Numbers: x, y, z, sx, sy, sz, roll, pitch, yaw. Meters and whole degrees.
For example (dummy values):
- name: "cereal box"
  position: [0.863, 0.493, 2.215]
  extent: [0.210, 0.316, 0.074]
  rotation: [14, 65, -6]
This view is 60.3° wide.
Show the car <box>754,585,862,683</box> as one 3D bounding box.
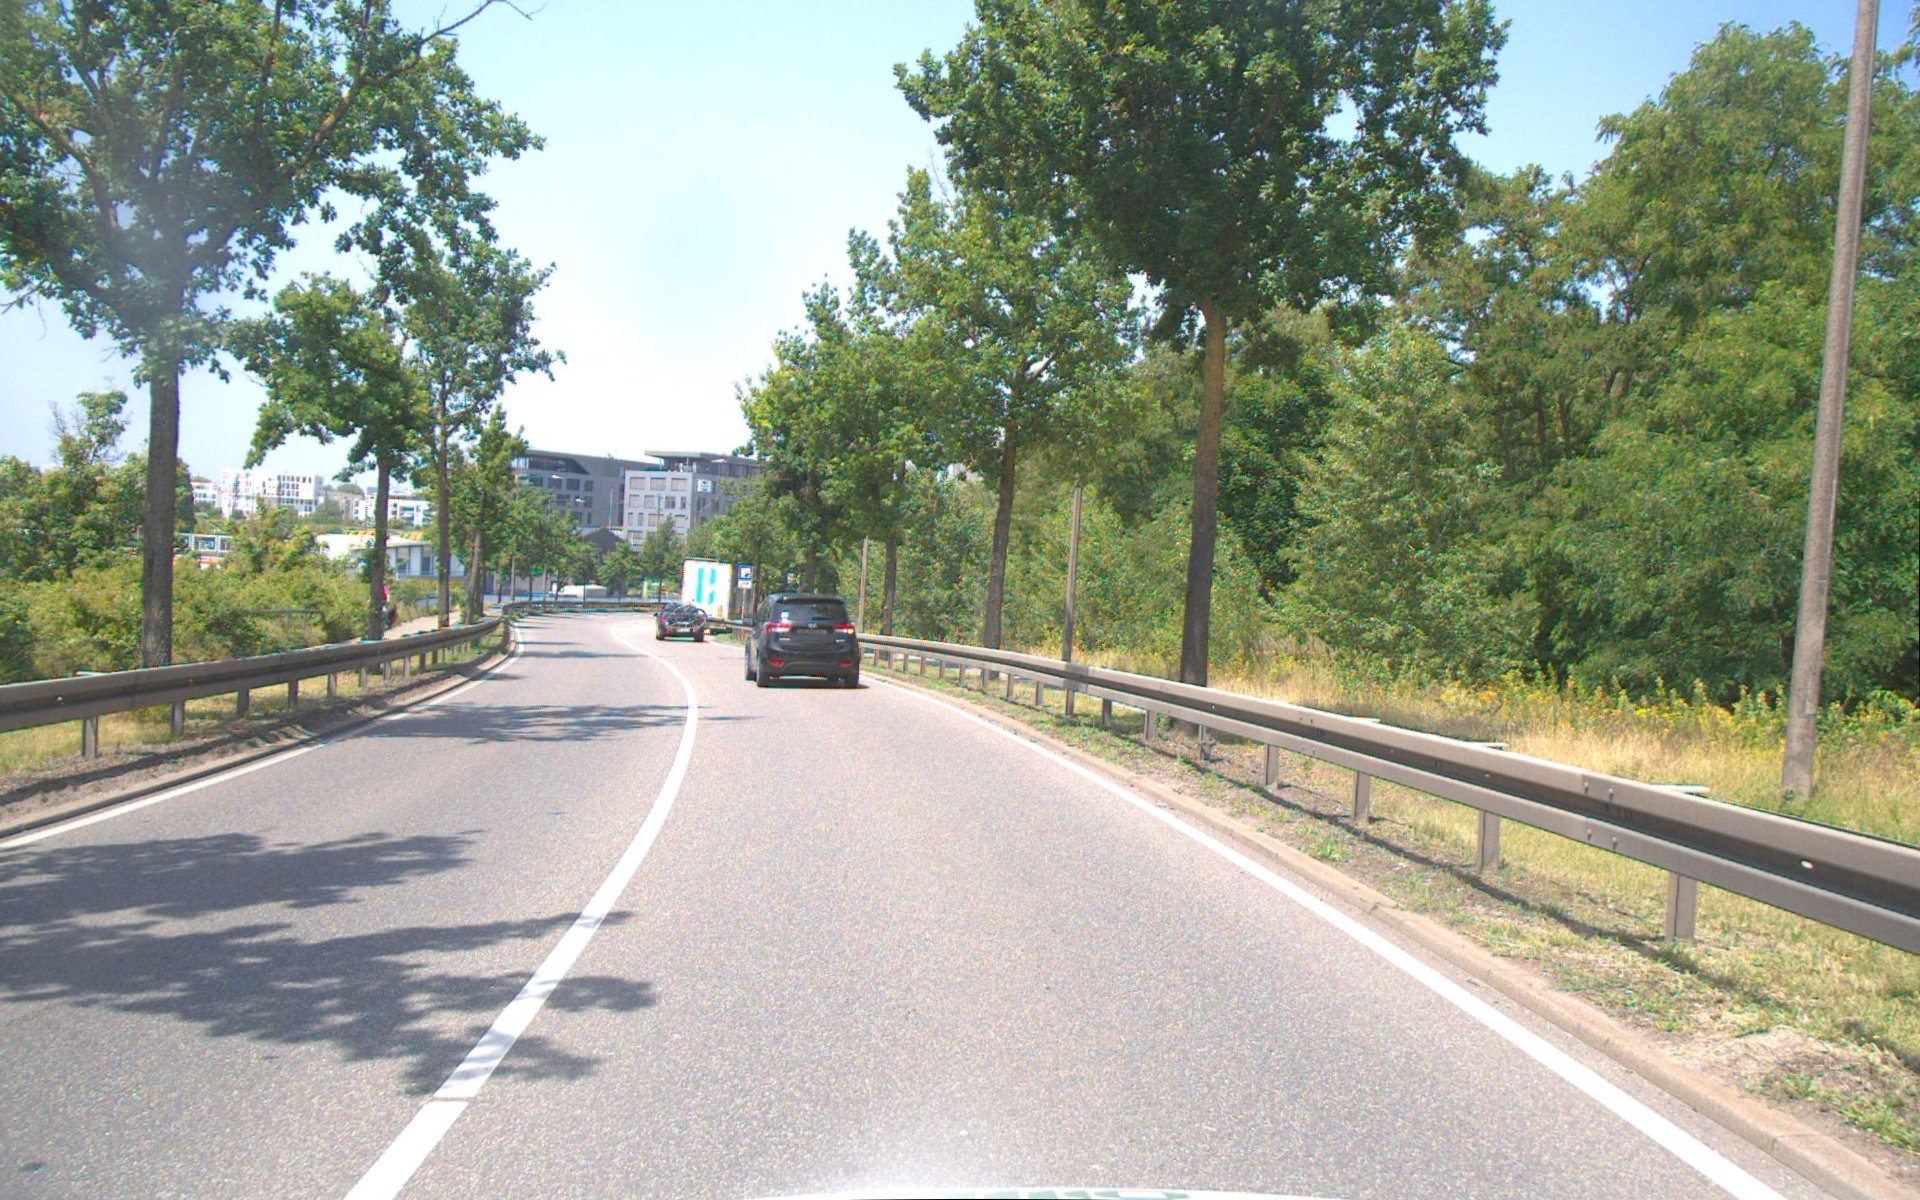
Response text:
- name: "car"
  position: [-2.762, 0.582, 29.443]
  extent: [1.734, 1.627, 4.070]
  rotation: [0, 0, -8]

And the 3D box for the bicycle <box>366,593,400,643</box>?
- name: "bicycle"
  position: [-15.480, 0.476, 44.411]
  extent: [0.722, 1.304, 2.037]
  rotation: [2, -1, -16]

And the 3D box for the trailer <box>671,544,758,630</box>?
- name: "trailer"
  position: [-13.939, -0.784, 95.314]
  extent: [3.016, 4.444, 14.770]
  rotation: [3, 1, -2]

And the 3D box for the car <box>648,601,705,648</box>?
- name: "car"
  position: [-11.001, 0.928, 63.978]
  extent: [1.923, 1.662, 4.266]
  rotation: [3, -1, -13]

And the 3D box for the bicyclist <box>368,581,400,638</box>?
- name: "bicyclist"
  position: [-15.499, 0.258, 44.503]
  extent: [0.730, 1.515, 0.753]
  rotation: [2, -1, -17]
